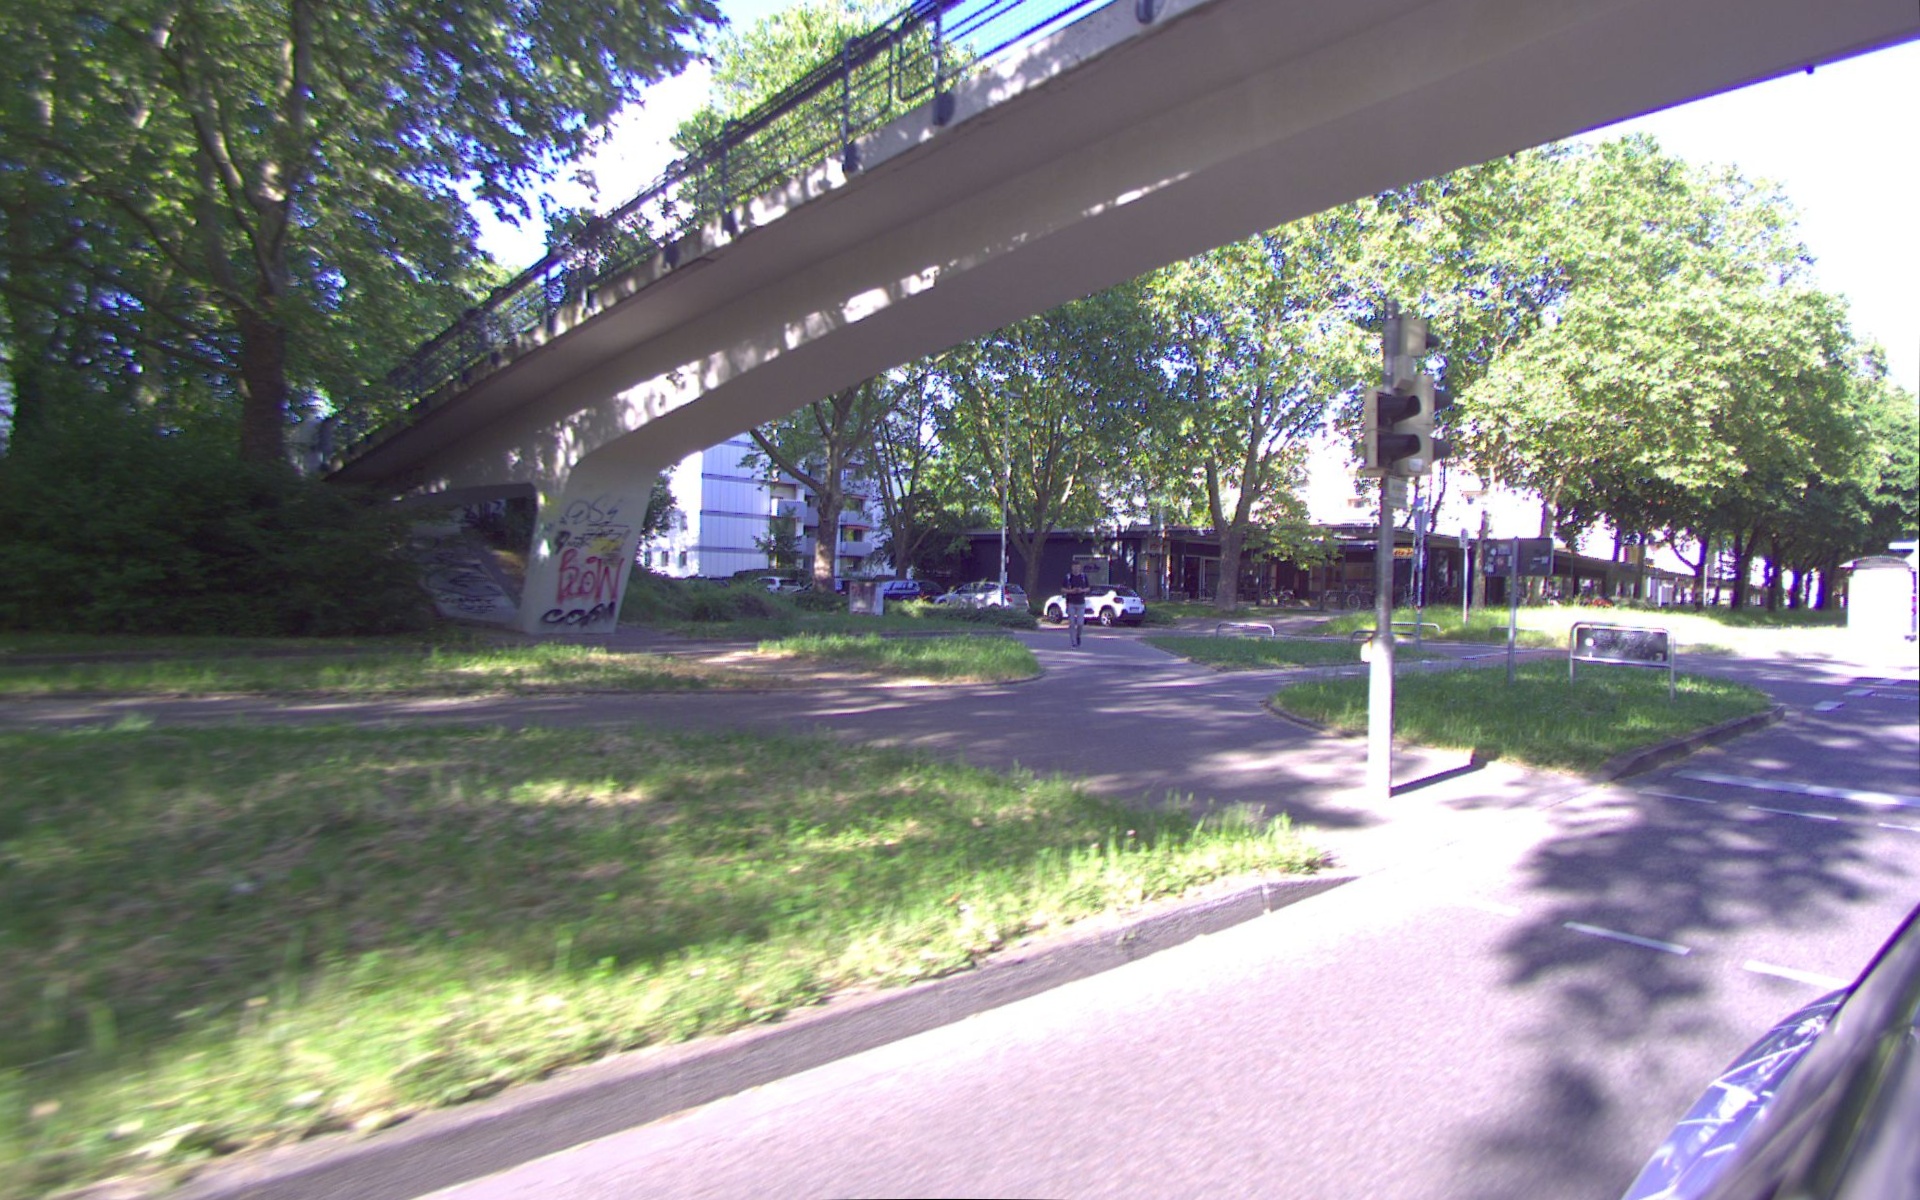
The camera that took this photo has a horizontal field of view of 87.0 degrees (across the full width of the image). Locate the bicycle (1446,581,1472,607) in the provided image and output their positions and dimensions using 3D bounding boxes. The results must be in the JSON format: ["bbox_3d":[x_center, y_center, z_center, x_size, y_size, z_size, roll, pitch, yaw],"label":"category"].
[{"bbox_3d":[24.617,-0.284,49.908,1.775,1.269,0.576,0,0,-43],"label":"bicycle"}]

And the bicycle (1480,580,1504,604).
[{"bbox_3d":[28.048,-0.432,53.319,1.775,1.269,0.576,0,0,-43],"label":"bicycle"}]

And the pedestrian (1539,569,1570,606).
[{"bbox_3d":[28.763,-0.603,48.989,1.126,1.729,0.722,3,2,40],"label":"pedestrian"}]

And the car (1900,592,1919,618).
[{"bbox_3d":[55.919,0.407,57.123,4.011,1.420,1.687,3,2,2],"label":"car"}]

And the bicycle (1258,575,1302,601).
[{"bbox_3d":[14.837,-0.553,46.944,1.800,1.129,0.700,3,4,42],"label":"bicycle"}]

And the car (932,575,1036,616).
[{"bbox_3d":[0.935,-0.199,40.847,3.965,1.515,1.644,2,-1,39],"label":"car"}]

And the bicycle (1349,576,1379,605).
[{"bbox_3d":[18.206,-0.432,45.602,1.775,1.269,0.576,0,0,-43],"label":"bicycle"}]

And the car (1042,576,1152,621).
[{"bbox_3d":[4.913,-0.070,36.708,1.680,1.515,3.734,3,-1,-42],"label":"car"}]

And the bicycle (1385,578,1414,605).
[{"bbox_3d":[21.025,-0.401,48.409,1.775,1.269,0.576,0,0,-43],"label":"bicycle"}]

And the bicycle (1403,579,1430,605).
[{"bbox_3d":[22.475,-0.415,49.851,1.775,1.269,0.576,0,0,-43],"label":"bicycle"}]

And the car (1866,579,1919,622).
[{"bbox_3d":[43.723,0.072,45.614,3.881,1.865,1.768,3,2,4],"label":"car"}]

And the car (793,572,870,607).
[{"bbox_3d":[-6.072,-0.516,47.592,3.578,1.515,1.602,2,-1,43],"label":"car"}]

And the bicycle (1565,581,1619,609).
[{"bbox_3d":[29.335,-0.238,46.990,2.064,1.172,0.554,4,3,39],"label":"bicycle"}]

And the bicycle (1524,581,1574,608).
[{"bbox_3d":[28.647,-0.269,49.245,0.550,1.172,2.077,1,2,-26],"label":"bicycle"}]

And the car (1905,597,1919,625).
[{"bbox_3d":[61.310,0.732,62.351,4.227,1.696,1.865,2,1,6],"label":"car"}]

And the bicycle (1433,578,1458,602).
[{"bbox_3d":[25.508,-0.516,53.124,1.775,1.269,0.576,0,0,-43],"label":"bicycle"}]

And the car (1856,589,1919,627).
[{"bbox_3d":[41.012,0.383,43.284,3.762,1.490,1.517,3,2,6],"label":"car"}]

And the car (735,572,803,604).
[{"bbox_3d":[-9.734,-0.636,51.445,3.579,1.515,1.559,2,-1,44],"label":"car"}]

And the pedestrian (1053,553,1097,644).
[{"bbox_3d":[2.341,-0.043,20.666,0.725,1.800,0.660,2,0,-3],"label":"pedestrian"}]

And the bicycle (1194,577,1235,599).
[{"bbox_3d":[12.387,-0.584,49.341,1.800,0.966,0.700,6,4,42],"label":"bicycle"}]

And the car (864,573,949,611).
[{"bbox_3d":[-2.338,-0.363,43.767,3.577,1.515,1.598,2,-1,42],"label":"car"}]

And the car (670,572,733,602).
[{"bbox_3d":[-14.255,-0.735,55.703,3.579,1.515,1.642,2,-1,44],"label":"car"}]
